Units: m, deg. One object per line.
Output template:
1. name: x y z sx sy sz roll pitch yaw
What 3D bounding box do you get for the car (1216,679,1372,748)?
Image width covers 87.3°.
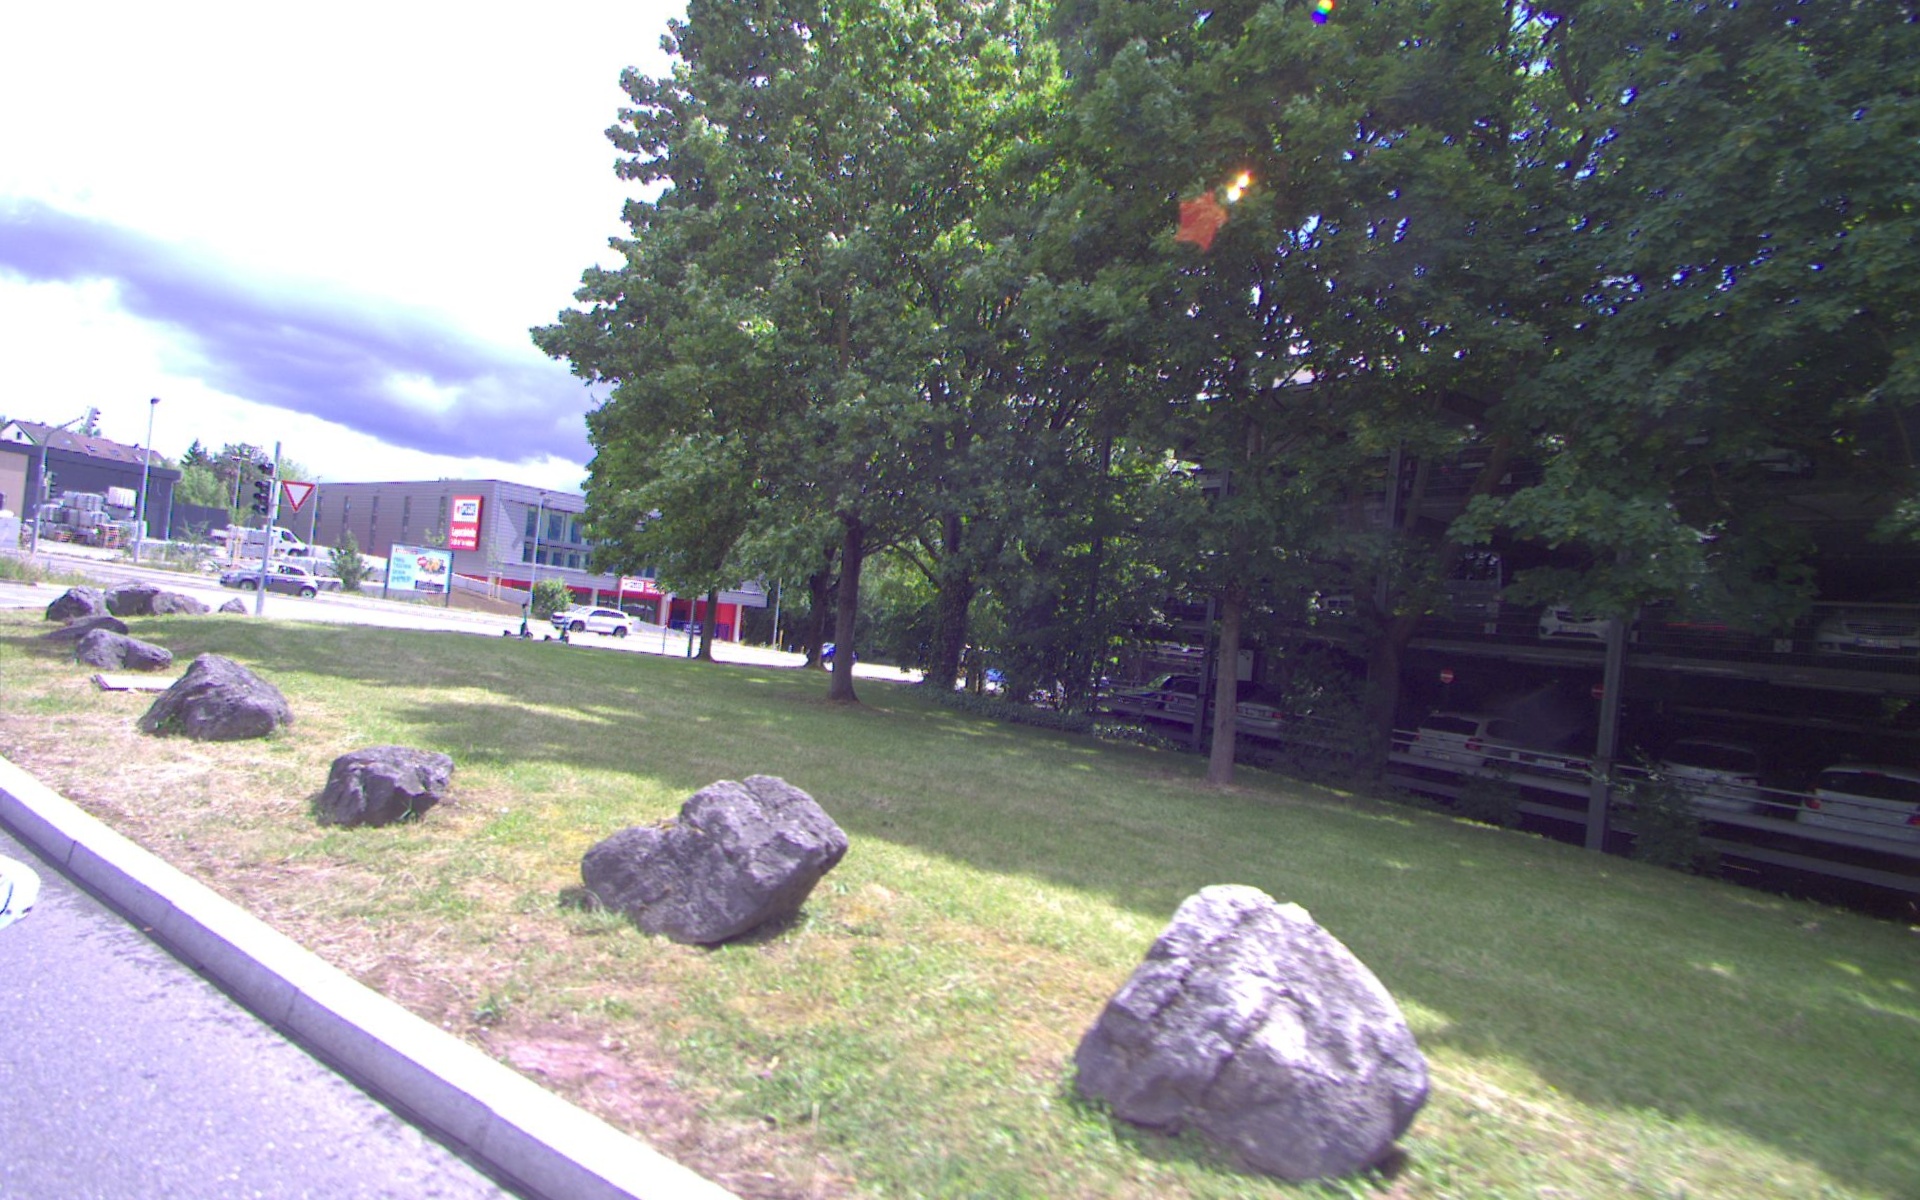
1. car: 8.466 2.883 25.430 3.764 1.308 1.760 8 -1 -35

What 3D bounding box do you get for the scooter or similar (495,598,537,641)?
1. scooter or similar: -14.500 0.661 32.867 0.524 1.278 1.192 6 -3 12

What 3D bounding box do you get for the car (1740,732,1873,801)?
1. car: 21.362 4.162 25.355 3.747 1.388 1.579 6 0 -35

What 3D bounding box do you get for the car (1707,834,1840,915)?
1. car: 21.070 7.036 26.013 3.747 1.388 1.624 6 0 -35

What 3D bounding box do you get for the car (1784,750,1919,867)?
1. car: 15.049 3.317 16.166 3.764 1.409 1.760 8 -1 -35

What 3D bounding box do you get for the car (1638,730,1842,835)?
1. car: 13.933 3.224 17.912 3.764 1.409 1.760 8 -1 -35

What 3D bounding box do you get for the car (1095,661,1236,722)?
1. car: 5.930 2.646 28.900 3.764 1.308 1.760 8 -1 -35

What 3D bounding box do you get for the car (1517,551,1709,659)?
1. car: 12.778 0.117 19.647 3.669 1.561 1.711 8 1 -34

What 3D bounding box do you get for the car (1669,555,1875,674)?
1. car: 14.392 0.279 17.787 3.669 1.561 1.711 8 1 -34

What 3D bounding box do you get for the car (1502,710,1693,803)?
1. car: 12.485 3.068 19.639 3.764 1.409 1.760 8 -1 -35

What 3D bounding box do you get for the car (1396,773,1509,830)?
1. car: 16.083 6.530 32.810 3.747 1.388 1.624 6 0 -35

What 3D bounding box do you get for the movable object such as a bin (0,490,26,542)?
1. movable object such as a bin: -50.940 -4.593 52.015 3.389 2.565 2.132 10 -4 -37

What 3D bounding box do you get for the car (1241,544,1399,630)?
1. car: 8.991 -0.312 25.051 3.669 1.561 1.711 8 1 -34

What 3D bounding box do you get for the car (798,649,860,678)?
1. car: -9.500 4.648 73.402 1.783 1.527 4.388 7 -3 37

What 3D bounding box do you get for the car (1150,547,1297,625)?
1. car: 7.178 -0.357 27.317 3.669 1.561 1.711 8 1 -34

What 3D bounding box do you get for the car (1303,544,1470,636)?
1. car: 9.905 -0.218 23.321 3.669 1.561 1.711 8 1 -34

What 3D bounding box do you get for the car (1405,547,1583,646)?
1. car: 11.520 -0.056 21.650 3.669 1.561 1.711 8 1 -34

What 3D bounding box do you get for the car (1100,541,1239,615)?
1. car: 6.045 -0.610 28.930 3.669 1.561 1.711 8 1 -34

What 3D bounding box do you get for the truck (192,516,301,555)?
1. truck: -53.774 -4.844 75.947 6.526 2.173 1.978 5 1 -40

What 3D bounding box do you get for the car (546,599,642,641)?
1. car: -20.709 1.155 57.070 1.706 1.677 4.893 7 -3 35

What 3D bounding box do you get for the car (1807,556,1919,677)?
1. car: 15.315 0.374 16.038 3.669 1.561 1.711 8 1 -34

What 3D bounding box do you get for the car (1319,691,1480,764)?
1. car: 10.558 3.071 24.118 3.764 1.308 1.760 8 -1 -35

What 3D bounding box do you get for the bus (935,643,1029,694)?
1. bus: 2.123 6.197 90.020 2.781 3.320 10.103 7 -4 36

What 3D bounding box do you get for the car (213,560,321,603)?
1. car: -30.241 -0.789 43.971 1.562 1.478 3.509 7 0 39

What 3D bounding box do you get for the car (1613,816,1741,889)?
1. car: 19.809 6.908 27.756 3.747 1.388 1.624 6 0 -35

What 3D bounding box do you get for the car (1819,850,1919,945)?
1. car: 22.069 6.985 23.861 3.747 1.465 1.624 6 0 -35

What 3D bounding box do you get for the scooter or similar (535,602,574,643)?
1. scooter or similar: -13.696 0.776 34.003 0.524 1.278 1.192 6 -3 12

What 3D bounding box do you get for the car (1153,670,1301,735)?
1. car: 7.223 2.777 27.105 3.764 1.308 1.760 8 -1 -35

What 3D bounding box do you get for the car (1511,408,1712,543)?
1. car: 13.060 -2.362 20.114 3.965 1.680 1.853 11 -4 -33

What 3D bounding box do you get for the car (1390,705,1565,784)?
1. car: 11.268 3.150 21.854 3.764 1.308 1.760 8 -1 -35
